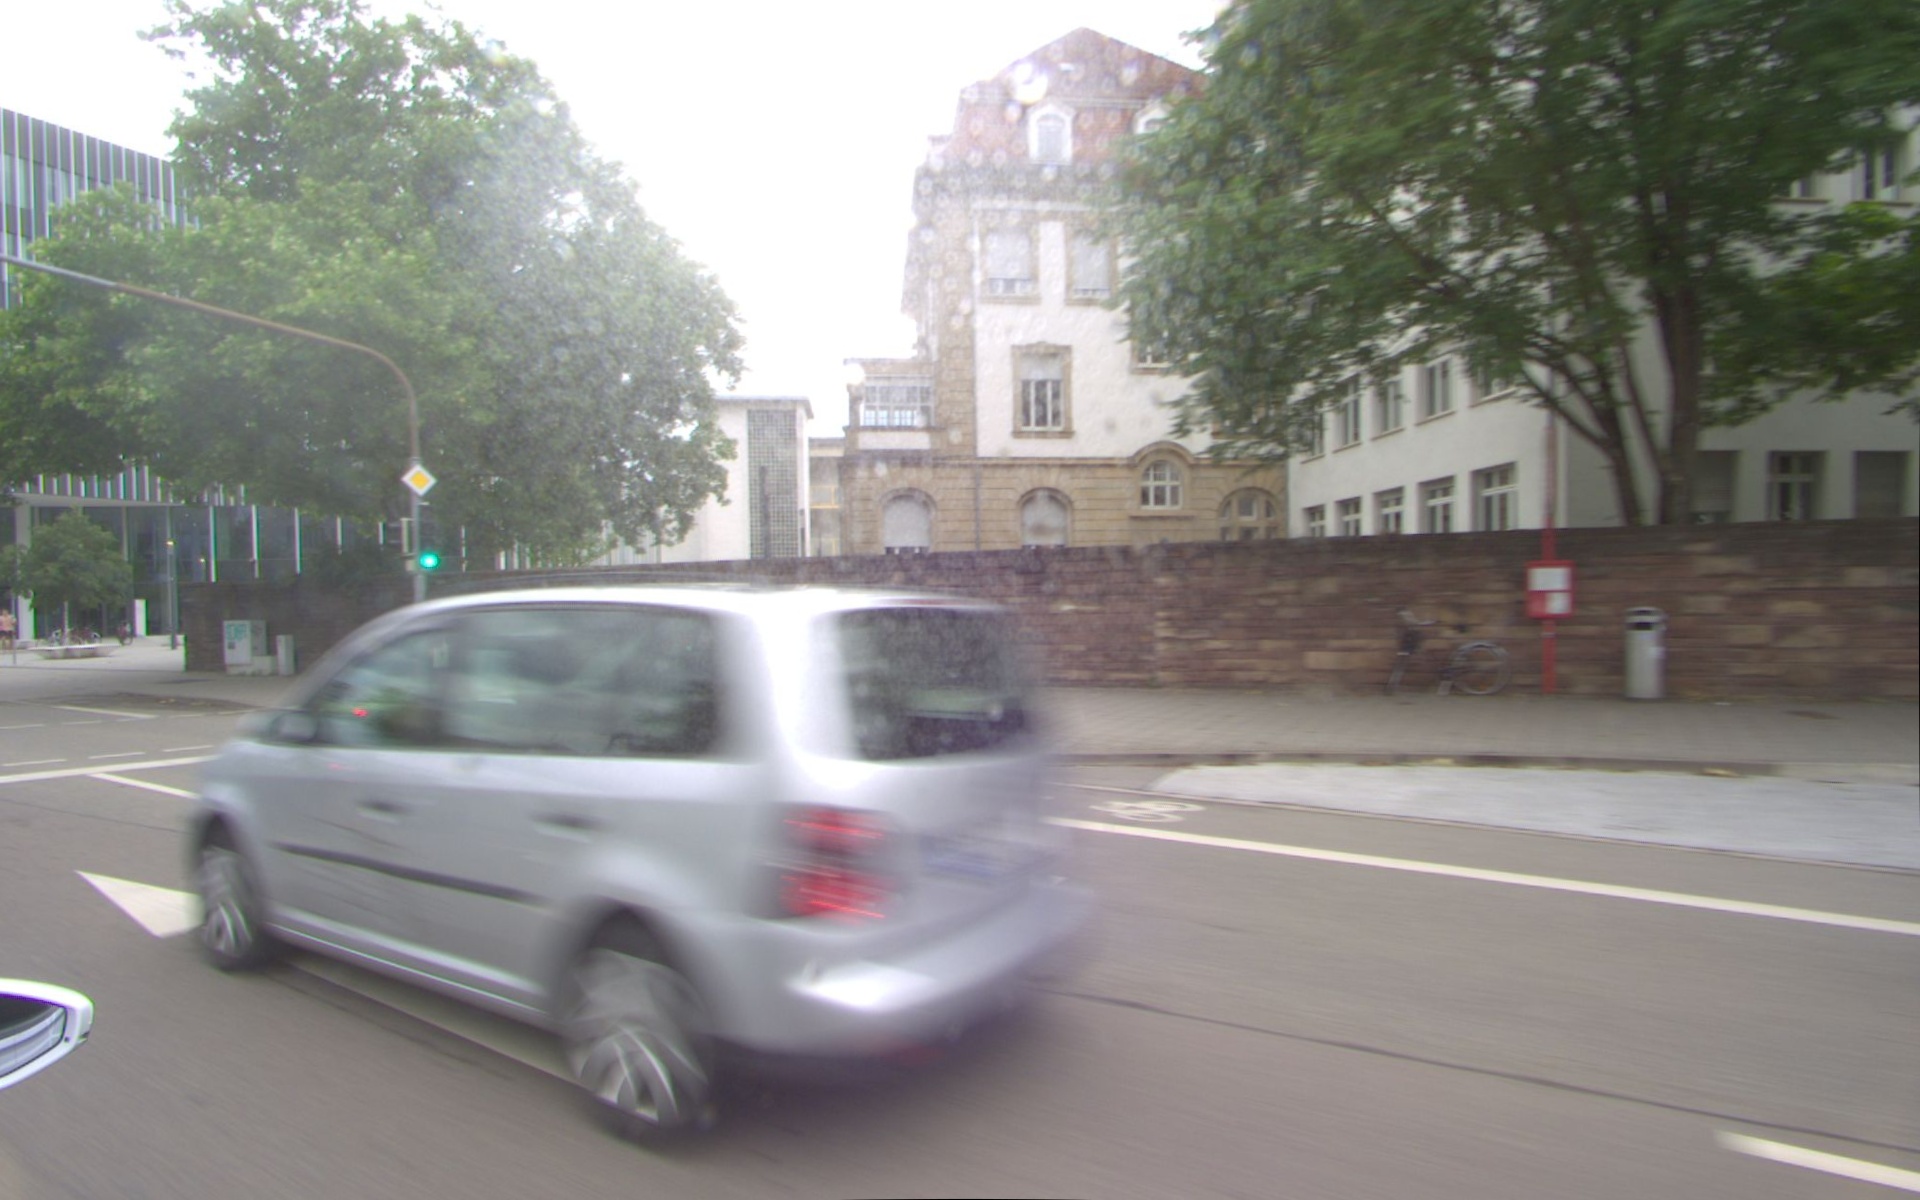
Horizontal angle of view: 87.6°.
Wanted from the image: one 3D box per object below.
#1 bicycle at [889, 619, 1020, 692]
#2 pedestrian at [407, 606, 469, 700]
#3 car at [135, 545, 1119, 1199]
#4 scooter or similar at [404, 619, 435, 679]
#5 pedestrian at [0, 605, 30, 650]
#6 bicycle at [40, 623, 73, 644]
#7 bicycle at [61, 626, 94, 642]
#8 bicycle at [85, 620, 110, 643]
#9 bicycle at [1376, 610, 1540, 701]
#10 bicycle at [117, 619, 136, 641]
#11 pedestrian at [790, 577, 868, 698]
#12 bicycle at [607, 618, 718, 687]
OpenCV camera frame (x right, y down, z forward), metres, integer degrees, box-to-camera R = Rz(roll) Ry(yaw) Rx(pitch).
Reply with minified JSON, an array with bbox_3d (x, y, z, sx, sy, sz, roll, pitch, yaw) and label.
[{"bbox_3d":[-0.075,0.895,16.355,1.934,1.088,0.941,-1,2,18],"label":"bicycle"},{"bbox_3d":[-9.312,0.930,17.872,0.627,1.584,0.658,0,5,32],"label":"pedestrian"},{"bbox_3d":[-1.555,0.722,4.167,4.047,1.624,1.726,-1,-1,32],"label":"car"},{"bbox_3d":[-11.769,1.042,21.785,0.427,1.195,1.693,-3,2,-33],"label":"scooter or similar"},{"bbox_3d":[-38.804,1.126,40.977,0.756,1.789,0.845,0,2,32],"label":"pedestrian"},{"bbox_3d":[-45.864,1.684,50.834,0.686,0.959,1.975,-2,2,-27],"label":"bicycle"},{"bbox_3d":[-44.954,1.722,51.001,0.510,0.726,1.525,-1,1,-10],"label":"bicycle"},{"bbox_3d":[-43.817,1.589,50.877,0.802,1.070,1.933,-2,2,-38],"label":"bicycle"},{"bbox_3d":[6.747,0.741,13.688,1.889,1.143,0.849,-1,2,18],"label":"bicycle"},{"bbox_3d":[-42.566,1.524,51.153,0.616,1.070,1.933,-2,2,-38],"label":"bicycle"},{"bbox_3d":[-2.066,0.576,15.816,1.018,1.846,0.629,0,2,32],"label":"pedestrian"},{"bbox_3d":[-5.521,0.949,18.596,1.923,1.190,0.802,0,3,28],"label":"bicycle"}]
